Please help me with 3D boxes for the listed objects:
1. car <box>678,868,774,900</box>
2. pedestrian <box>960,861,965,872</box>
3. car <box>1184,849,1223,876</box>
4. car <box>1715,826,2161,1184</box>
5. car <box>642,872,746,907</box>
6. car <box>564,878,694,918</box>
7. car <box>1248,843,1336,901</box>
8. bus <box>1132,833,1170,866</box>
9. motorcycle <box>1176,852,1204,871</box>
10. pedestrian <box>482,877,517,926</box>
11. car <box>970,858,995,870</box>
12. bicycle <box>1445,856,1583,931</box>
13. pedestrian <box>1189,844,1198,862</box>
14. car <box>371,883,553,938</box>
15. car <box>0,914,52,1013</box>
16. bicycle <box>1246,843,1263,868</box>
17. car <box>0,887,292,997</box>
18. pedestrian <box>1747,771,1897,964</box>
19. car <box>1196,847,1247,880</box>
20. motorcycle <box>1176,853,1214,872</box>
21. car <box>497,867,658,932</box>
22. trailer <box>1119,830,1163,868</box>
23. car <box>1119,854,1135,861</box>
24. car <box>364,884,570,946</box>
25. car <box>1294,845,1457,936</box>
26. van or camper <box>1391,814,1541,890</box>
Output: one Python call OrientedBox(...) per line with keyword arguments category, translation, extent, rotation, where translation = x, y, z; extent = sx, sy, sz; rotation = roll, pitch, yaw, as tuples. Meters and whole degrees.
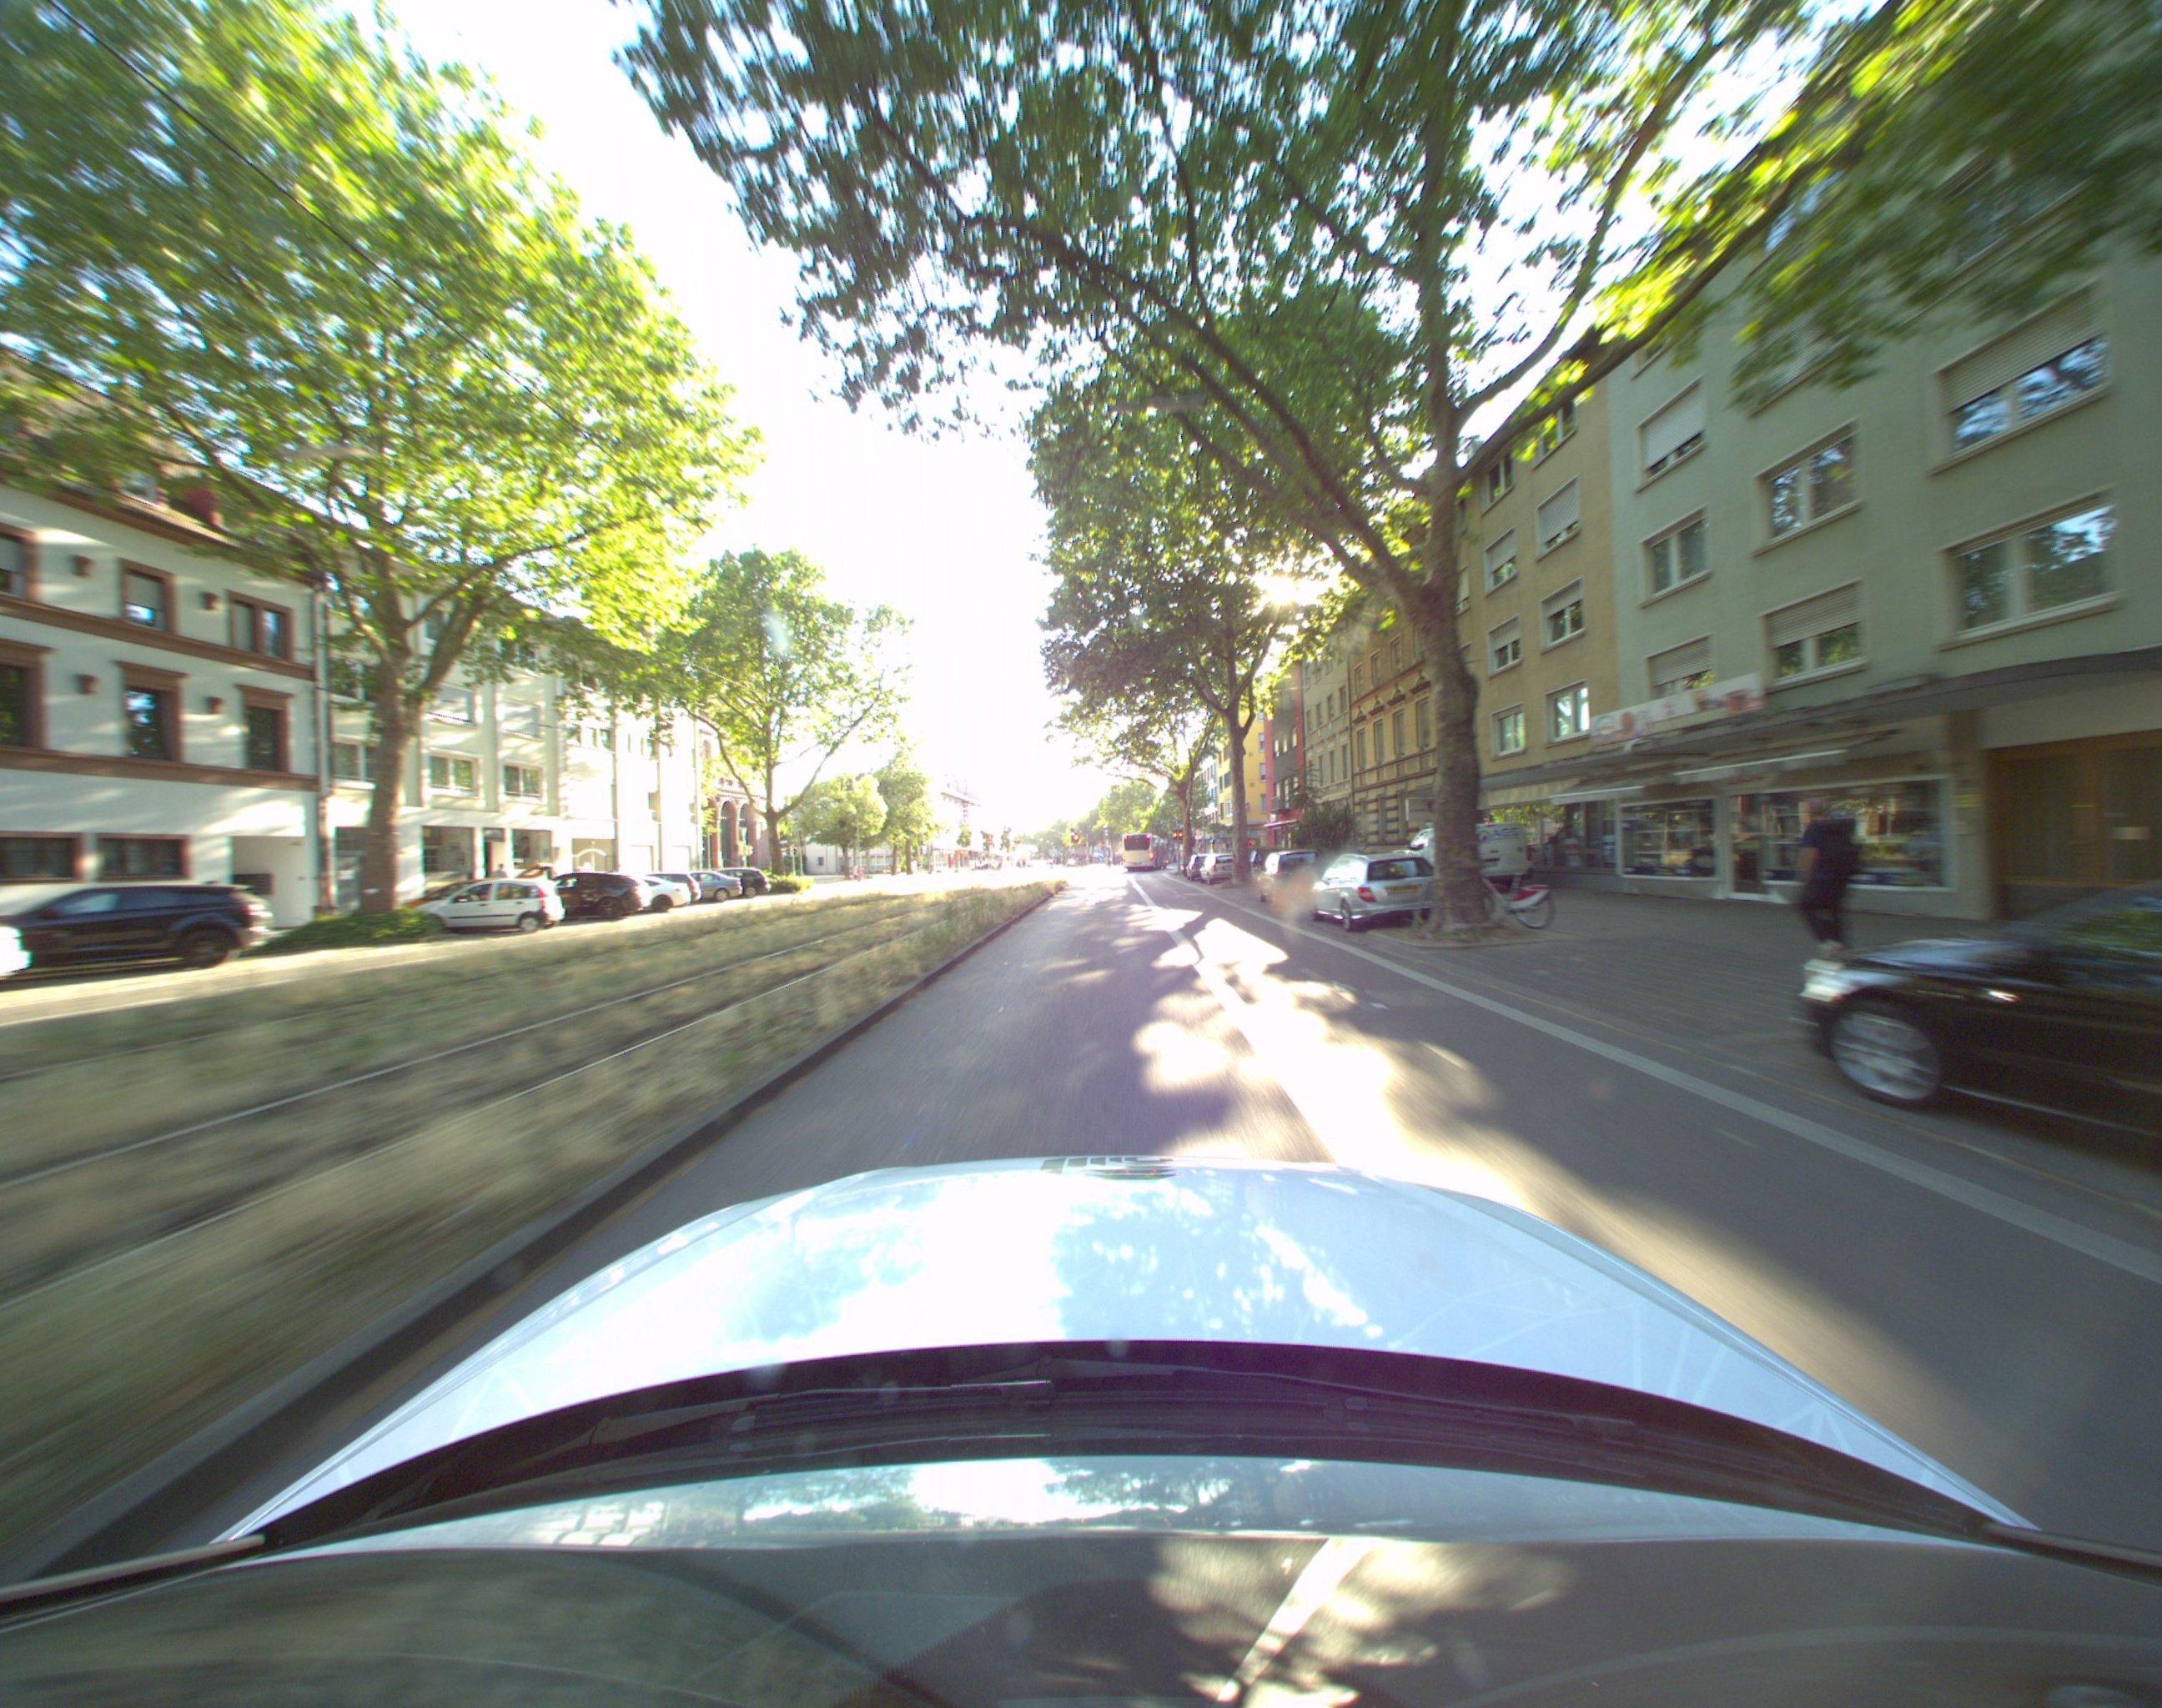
OrientedBox(category="car", translation=(-17.540, 1.442, 40.290), extent=(4.021, 1.479, 1.796), rotation=(0, 0, -41))
OrientedBox(category="pedestrian", translation=(-20.295, 2.159, 139.830), extent=(0.706, 2.014, 0.949), rotation=(0, -1, 2))
OrientedBox(category="car", translation=(6.800, 0.424, 45.583), extent=(1.703, 1.396, 4.325), rotation=(-2, 0, 3))
OrientedBox(category="car", translation=(5.316, 0.609, 3.568), extent=(1.702, 1.415, 4.366), rotation=(-4, 0, 2))
OrientedBox(category="car", translation=(-17.611, 1.559, 37.172), extent=(4.020, 1.441, 1.702), rotation=(0, 0, -39))
OrientedBox(category="car", translation=(-17.323, 1.655, 31.290), extent=(4.222, 1.333, 1.704), rotation=(0, 0, -34))
OrientedBox(category="car", translation=(6.231, 0.486, 24.518), extent=(1.647, 1.545, 4.001), rotation=(-3, 0, 1))
OrientedBox(category="bus", translation=(6.971, -0.416, 79.483), extent=(2.794, 3.101, 9.121), rotation=(0, 0, 11))
OrientedBox(category="motorcycle", translation=(7.134, 0.515, 53.102), extent=(2.009, 1.152, 0.594), rotation=(-2, 0, -40))
OrientedBox(category="pedestrian", translation=(-23.405, 1.894, 32.801), extent=(0.903, 1.900, 0.945), rotation=(-1, 0, -21))
OrientedBox(category="car", translation=(-17.187, 1.750, 142.139), extent=(4.005, 1.816, 1.984), rotation=(-2, 0, -24))
OrientedBox(category="bicycle", translation=(7.131, 0.606, 13.556), extent=(0.771, 1.131, 2.069), rotation=(0, 0, -19))
OrientedBox(category="pedestrian", translation=(10.882, -0.100, 78.834), extent=(0.677, 1.770, 0.687), rotation=(-3, 0, 3))
OrientedBox(category="car", translation=(-18.536, 1.657, 24.606), extent=(3.998, 1.479, 1.766), rotation=(0, 0, -19))
OrientedBox(category="car", translation=(-18.448, 1.747, 11.875), extent=(4.022, 1.385, 1.889), rotation=(-1, 0, -43))
OrientedBox(category="bicycle", translation=(10.074, 0.104, 47.330), extent=(0.604, 1.426, 2.398), rotation=(0, 0, 3))
OrientedBox(category="car", translation=(-18.072, 1.595, 15.619), extent=(4.020, 1.660, 1.977), rotation=(-2, 1, -39))
OrientedBox(category="pedestrian", translation=(8.270, 0.143, 9.139), extent=(0.680, 2.013, 1.012), rotation=(-3, 0, 1))
OrientedBox(category="car", translation=(6.717, 0.425, 39.312), extent=(1.668, 1.451, 4.571), rotation=(-2, 0, 0))
OrientedBox(category="motorcycle", translation=(7.131, 0.538, 50.923), extent=(2.213, 1.063, 0.762), rotation=(-4, 1, -20))
OrientedBox(category="car", translation=(-17.189, 1.527, 28.086), extent=(4.370, 1.786, 1.978), rotation=(-4, 0, -24))
OrientedBox(category="trailer", translation=(5.307, -0.398, 70.681), extent=(2.794, 3.110, 8.820), rotation=(0, 0, 11))
OrientedBox(category="car", translation=(12.059, 0.985, 213.191), extent=(3.910, 1.699, 1.817), rotation=(-2, 0, -26))
OrientedBox(category="car", translation=(-17.138, 1.646, 23.019), extent=(4.370, 1.449, 1.646), rotation=(-1, 0, -25))
OrientedBox(category="car", translation=(5.822, 0.639, 16.767), extent=(1.688, 1.542, 4.778), rotation=(-2, 0, 1))
OrientedBox(category="van or camper", translation=(11.179, -0.058, 24.151), extent=(1.935, 1.922, 5.393), rotation=(-3, 0, 1))
